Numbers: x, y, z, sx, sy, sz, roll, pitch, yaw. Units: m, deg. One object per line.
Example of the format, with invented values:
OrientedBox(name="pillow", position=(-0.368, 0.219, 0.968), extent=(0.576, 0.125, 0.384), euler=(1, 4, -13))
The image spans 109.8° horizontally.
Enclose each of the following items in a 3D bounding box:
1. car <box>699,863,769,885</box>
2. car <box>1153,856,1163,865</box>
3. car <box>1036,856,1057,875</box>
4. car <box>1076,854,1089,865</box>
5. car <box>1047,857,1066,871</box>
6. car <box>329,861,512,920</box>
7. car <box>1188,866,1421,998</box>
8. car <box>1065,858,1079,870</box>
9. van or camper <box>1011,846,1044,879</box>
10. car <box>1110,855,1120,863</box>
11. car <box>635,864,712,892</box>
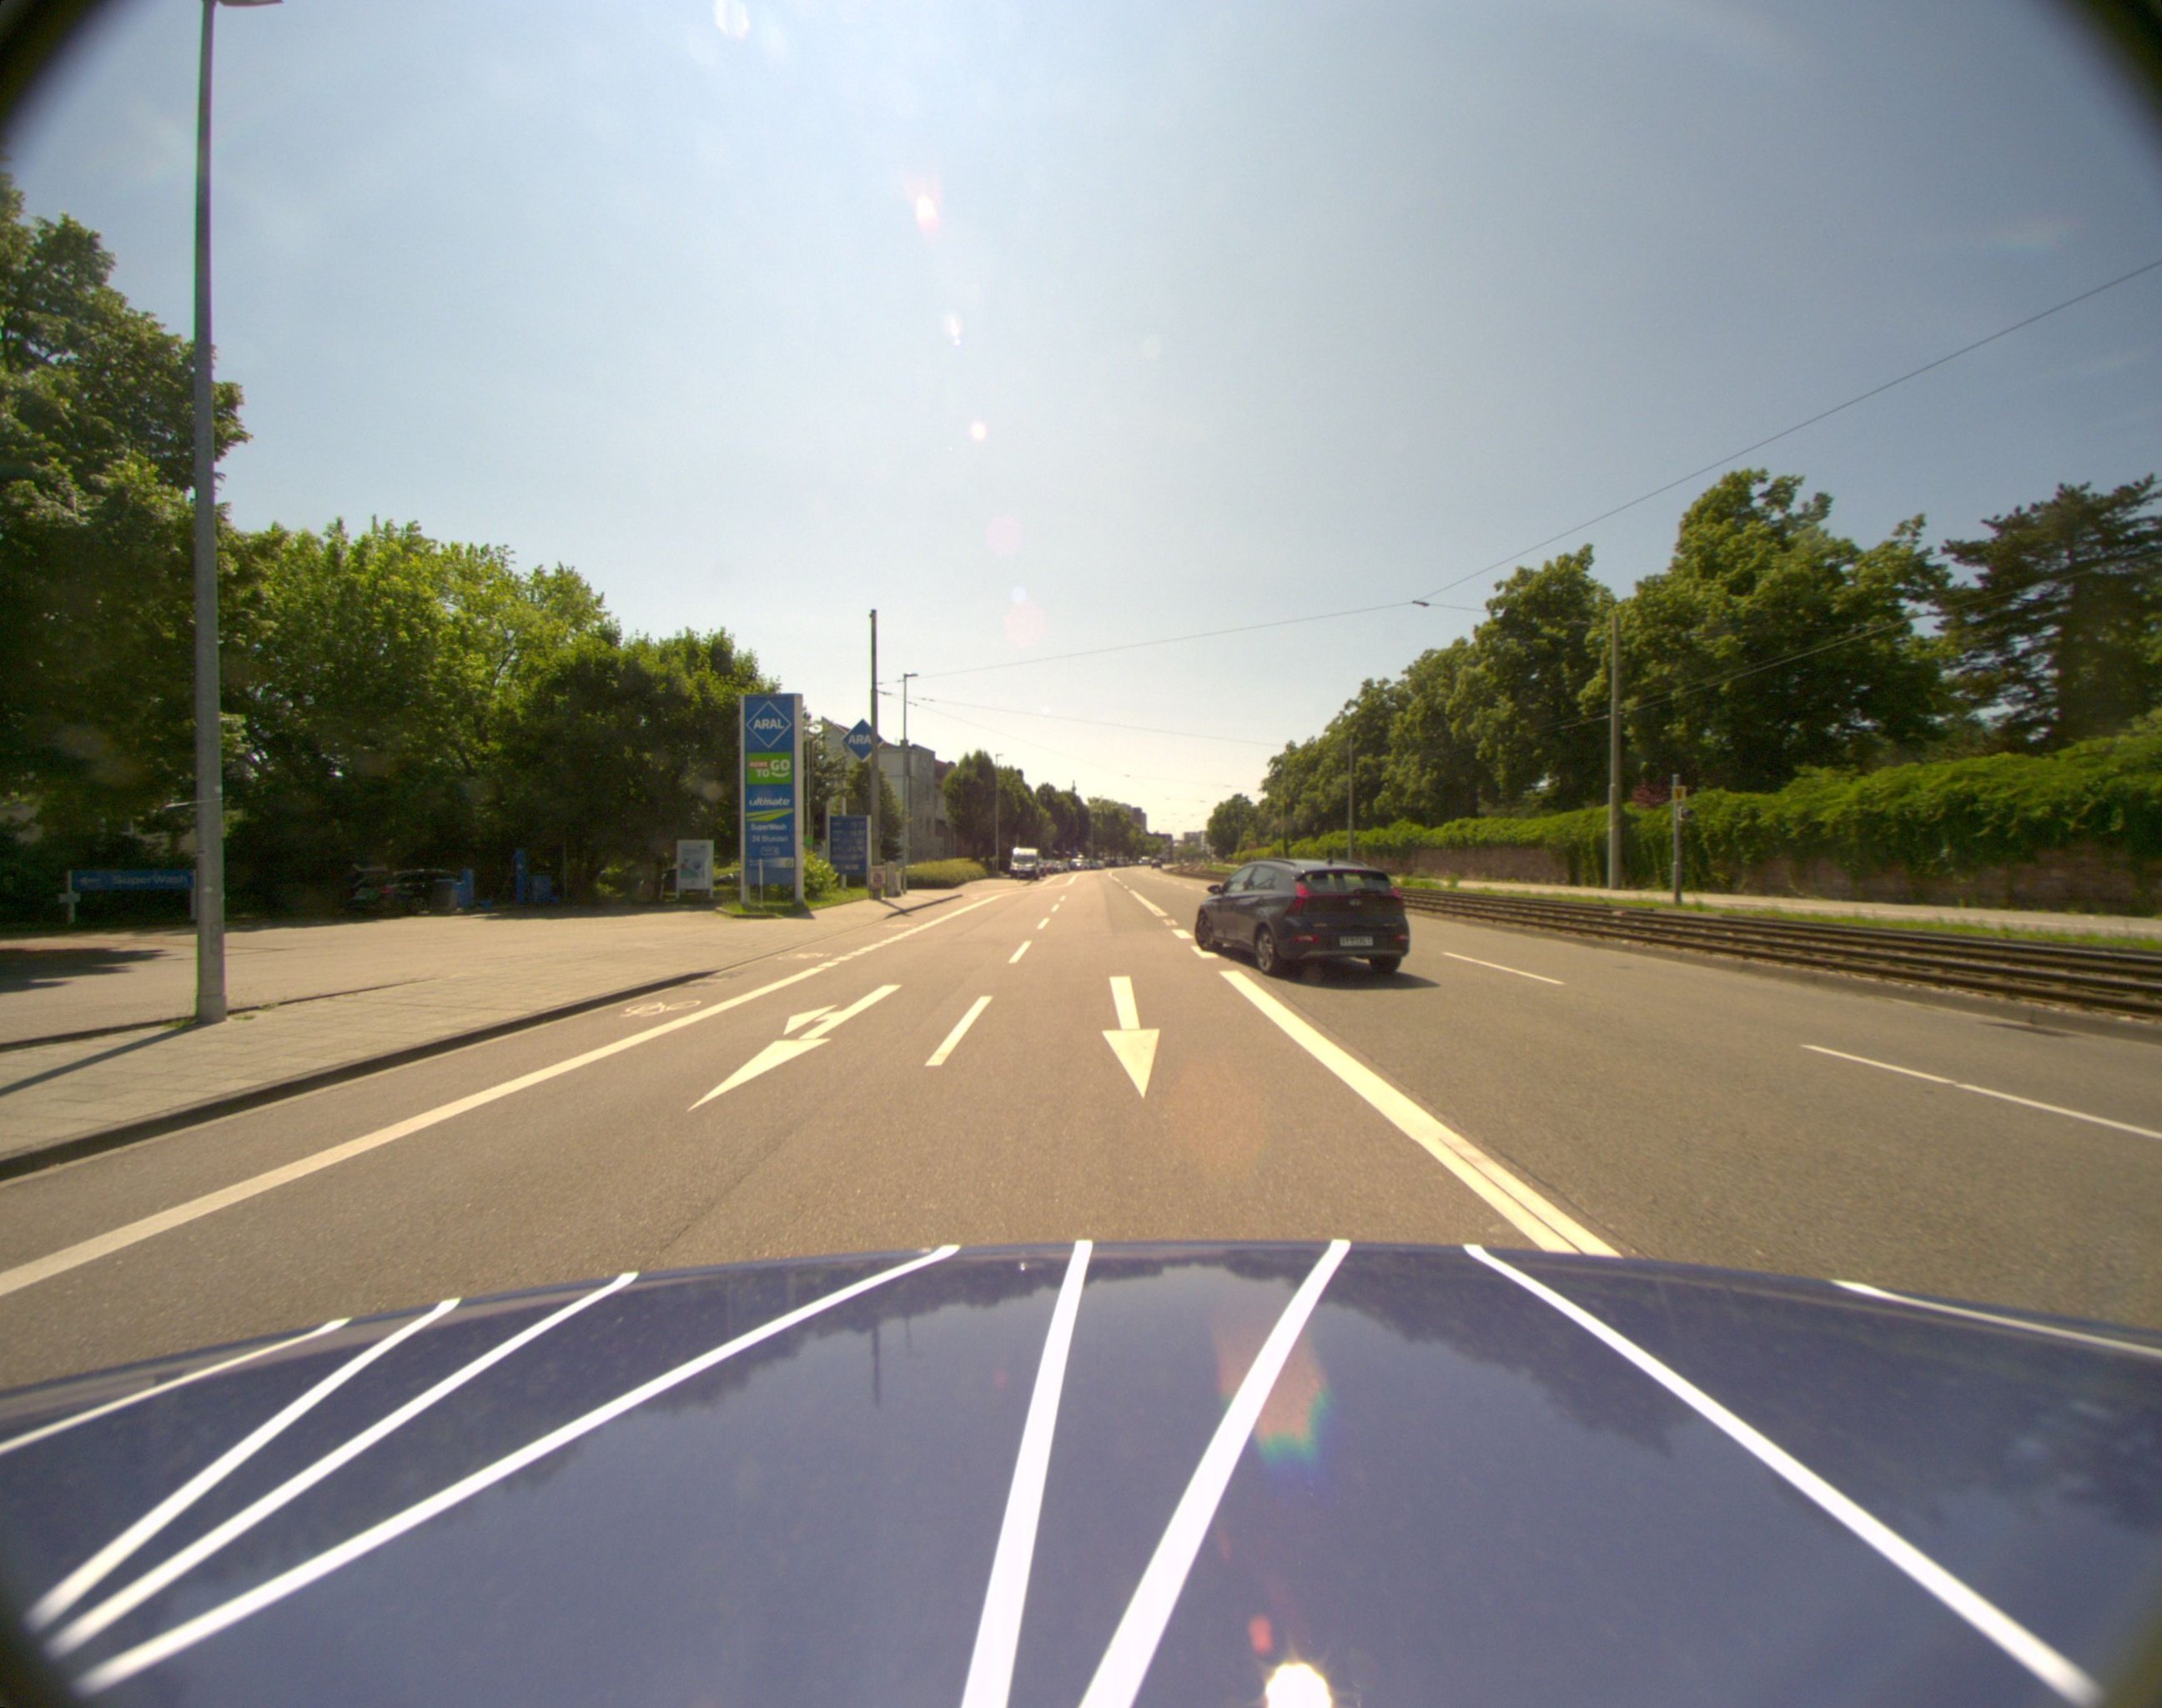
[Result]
OrientedBox(name="car", position=(-25.356, 1.441, 55.620), extent=(4.221, 1.512, 2.001), euler=(-1, 0, 9))
OrientedBox(name="car", position=(13.039, 1.047, 128.230), extent=(1.695, 1.460, 4.002), euler=(-1, 0, 7))
OrientedBox(name="car", position=(-3.104, 1.046, 69.915), extent=(1.827, 1.624, 3.999), euler=(0, 0, -1))
OrientedBox(name="car", position=(0.241, 0.889, 121.966), extent=(1.907, 1.707, 4.000), euler=(-1, 0, 1))
OrientedBox(name="car", position=(-2.697, 1.123, 85.161), extent=(1.813, 1.543, 4.000), euler=(-1, 0, 2))
OrientedBox(name="car", position=(-21.878, 1.151, 25.458), extent=(1.998, 1.653, 4.411), euler=(-1, 1, 6))
OrientedBox(name="car", position=(2.919, 0.932, 10.914), extent=(1.719, 1.414, 4.139), euler=(0, 0, -7))
OrientedBox(name="car", position=(-1.277, 1.419, 109.757), extent=(1.725, 1.586, 4.001), euler=(-1, 0, 3))
OrientedBox(name="van or camper", position=(-4.260, 0.630, 61.114), extent=(2.126, 2.469, 5.993), euler=(2, 0, 0))
OrientedBox(name="car", position=(7.226, 0.979, 160.223), extent=(1.998, 1.718, 4.000), euler=(-1, 0, 1))
OrientedBox(name="car", position=(-25.711, 1.498, 47.977), extent=(3.992, 1.677, 2.002), euler=(-1, 0, 16))
